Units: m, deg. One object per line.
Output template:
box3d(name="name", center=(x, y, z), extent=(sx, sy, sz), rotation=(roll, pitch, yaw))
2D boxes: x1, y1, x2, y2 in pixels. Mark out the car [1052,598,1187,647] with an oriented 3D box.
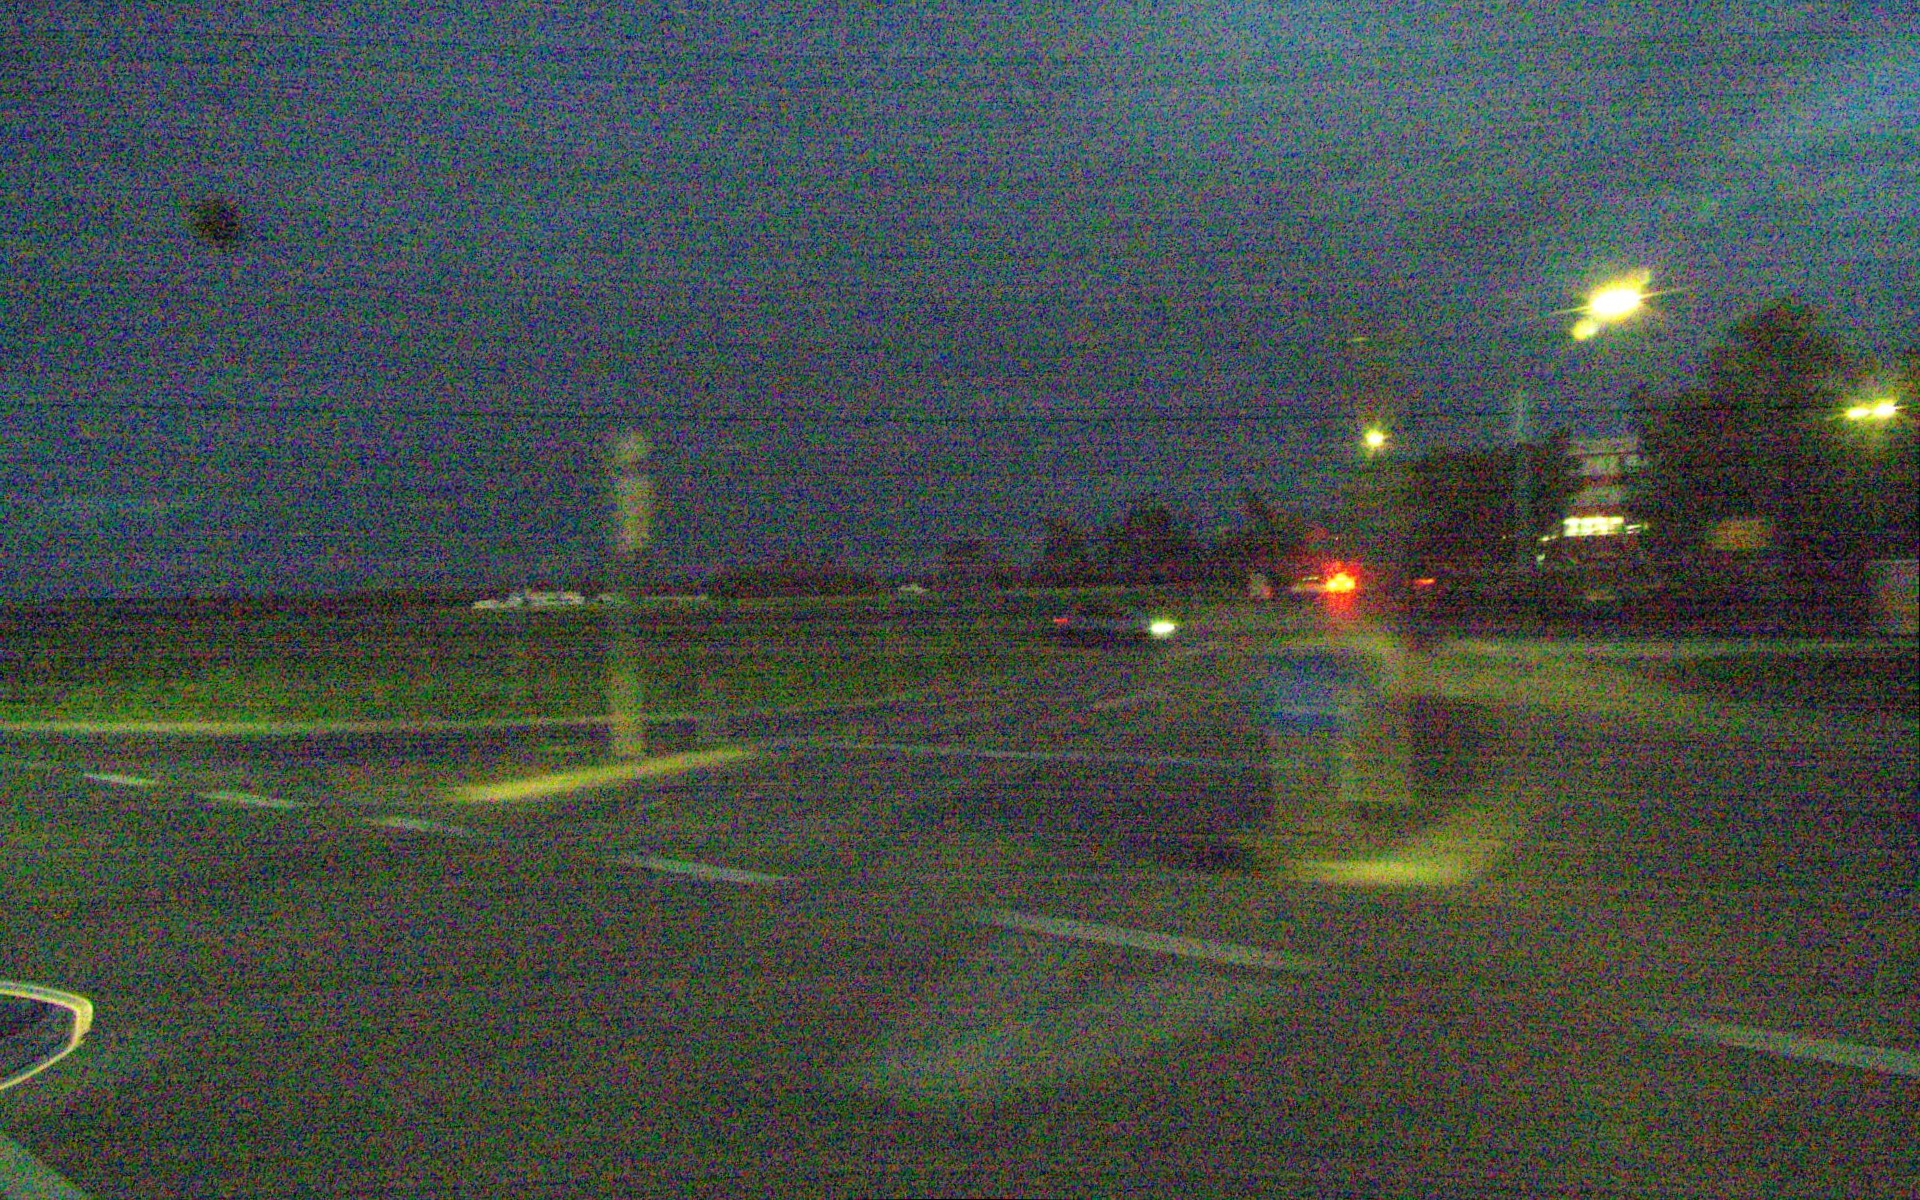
box3d(name="car", center=(5.799, 0.809, 36.517), extent=(4.413, 1.686, 1.990), rotation=(-1, 0, 31))
